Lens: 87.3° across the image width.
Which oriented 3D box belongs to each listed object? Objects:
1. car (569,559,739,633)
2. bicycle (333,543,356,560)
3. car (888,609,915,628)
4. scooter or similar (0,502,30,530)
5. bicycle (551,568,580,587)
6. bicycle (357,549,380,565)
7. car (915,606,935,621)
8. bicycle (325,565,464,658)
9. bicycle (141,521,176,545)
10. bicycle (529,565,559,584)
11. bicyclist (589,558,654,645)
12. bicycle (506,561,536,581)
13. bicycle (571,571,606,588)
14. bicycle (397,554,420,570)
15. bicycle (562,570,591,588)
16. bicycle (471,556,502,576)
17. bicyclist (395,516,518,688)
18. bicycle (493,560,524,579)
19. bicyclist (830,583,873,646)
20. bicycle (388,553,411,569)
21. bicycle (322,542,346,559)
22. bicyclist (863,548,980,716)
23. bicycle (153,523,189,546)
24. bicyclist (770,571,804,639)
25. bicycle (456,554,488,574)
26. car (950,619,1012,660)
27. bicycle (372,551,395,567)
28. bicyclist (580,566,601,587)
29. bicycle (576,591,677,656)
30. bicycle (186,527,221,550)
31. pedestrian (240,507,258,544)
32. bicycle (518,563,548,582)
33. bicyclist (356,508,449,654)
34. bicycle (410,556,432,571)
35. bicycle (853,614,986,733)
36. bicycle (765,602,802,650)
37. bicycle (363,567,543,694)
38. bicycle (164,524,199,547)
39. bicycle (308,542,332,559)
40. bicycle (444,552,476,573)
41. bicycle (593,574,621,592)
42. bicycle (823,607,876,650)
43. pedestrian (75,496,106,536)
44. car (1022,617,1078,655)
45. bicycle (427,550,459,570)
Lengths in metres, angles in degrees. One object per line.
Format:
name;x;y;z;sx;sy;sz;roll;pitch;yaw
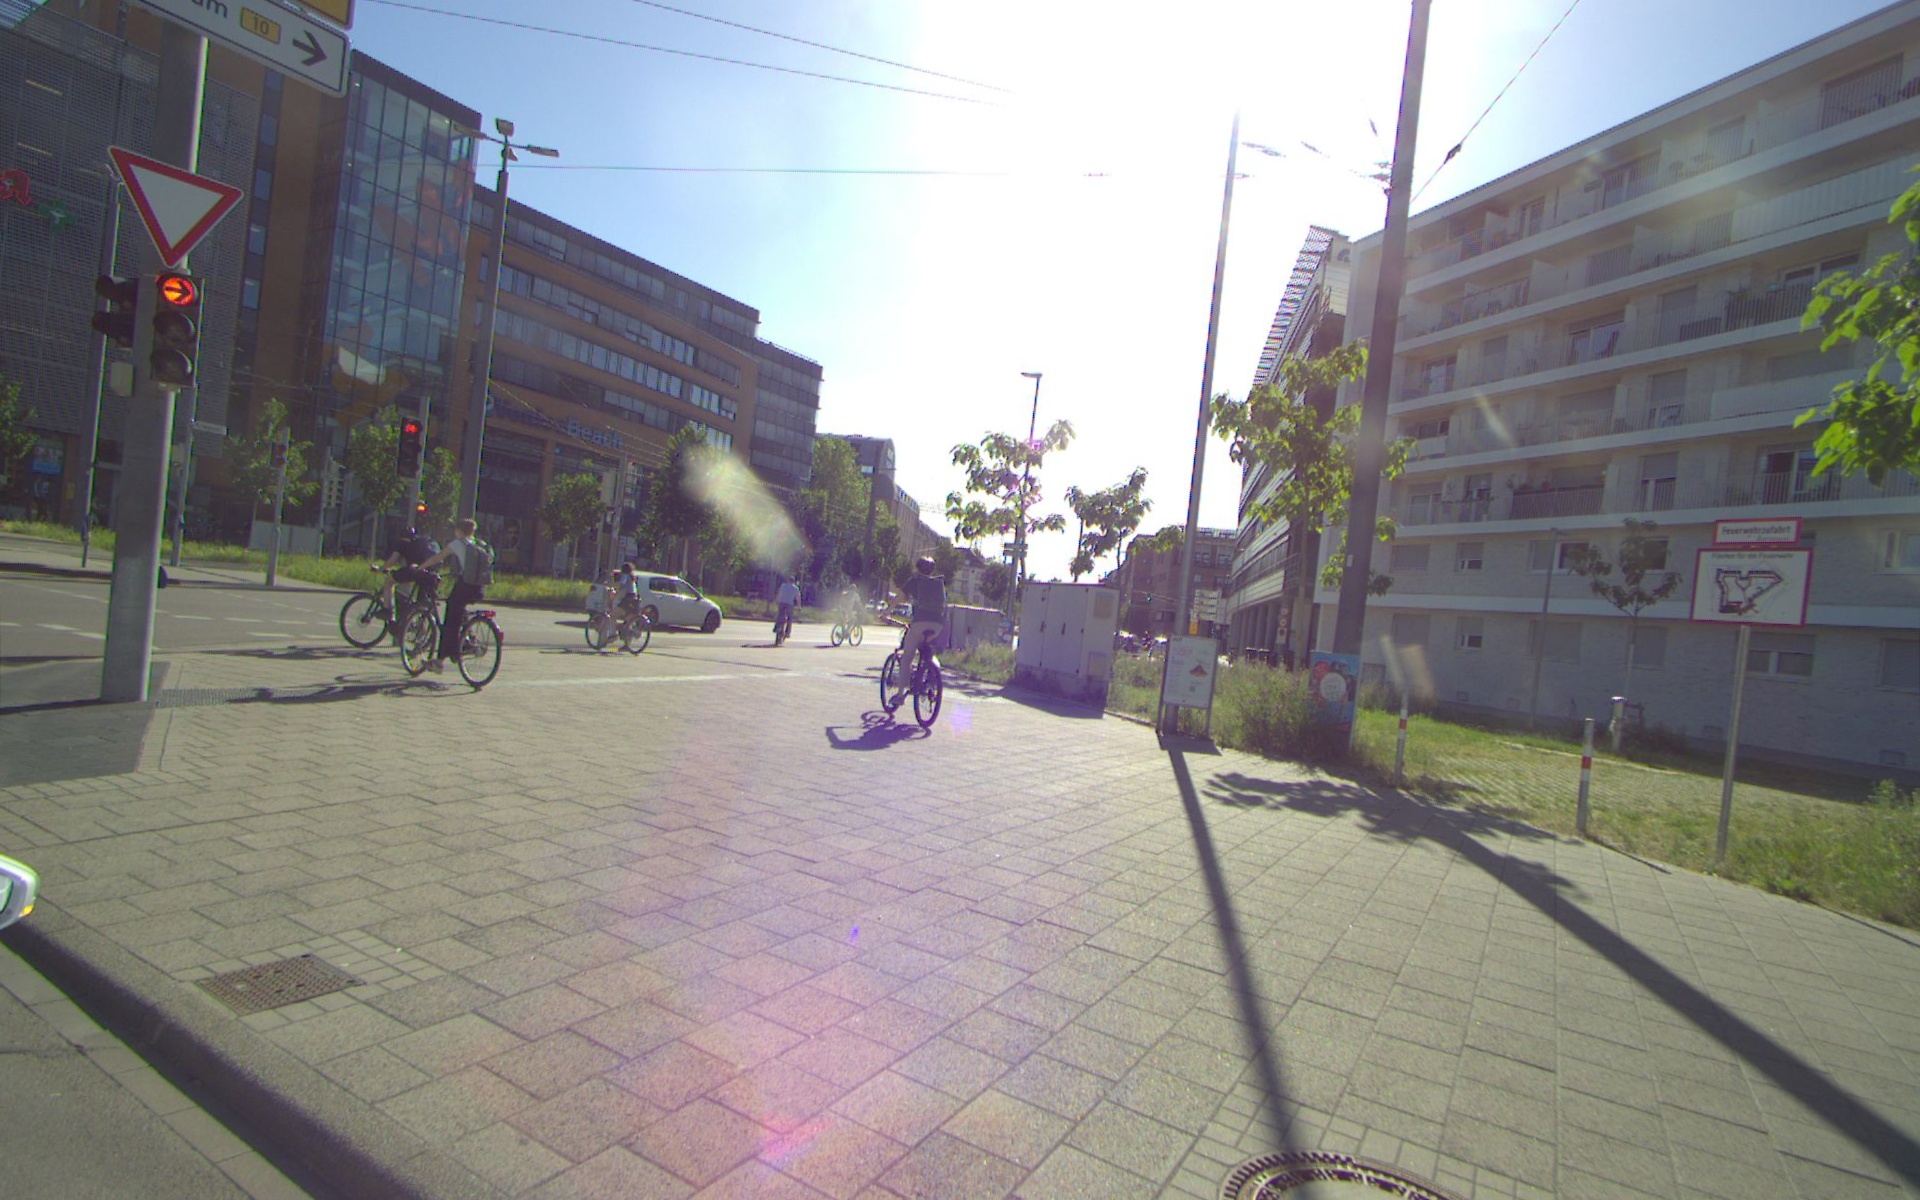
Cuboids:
car;-7.962;-0.050;26.617;1.746;1.420;4.291;9;0;25
bicycle;-36.951;-2.895;60.374;1.425;0.829;0.445;8;1;27
car;-7.237;2.313;124.980;2.185;2.038;5.259;7;-1;7
scooter or similar;-44.150;-3.916;46.787;0.272;1.115;1.203;6;-2;34
bicycle;-30.247;-1.733;77.093;2.142;1.137;0.752;8;1;27
bicycle;-36.083;-2.635;61.367;1.425;0.829;0.445;8;1;27
car;-4.926;1.902;141.526;1.962;1.701;4.541;7;-1;7
bicycle;-7.491;0.146;13.302;1.862;1.051;0.605;5;1;27
bicycle;-40.792;-3.425;51.197;2.142;0.966;0.492;8;1;27
bicycle;-31.246;-1.933;75.616;2.142;1.137;0.752;8;1;27
bicyclist;-5.877;0.028;17.486;0.814;1.421;0.588;5;1;32
bicycle;-32.245;-2.124;73.905;2.142;1.137;0.752;8;1;27
bicycle;-27.847;-1.538;75.436;0.588;1.023;2.563;7;-1;33
bicycle;-35.037;-2.412;63.893;1.425;0.829;0.445;8;1;27
bicycle;-29.659;-1.629;77.755;2.142;1.137;0.752;8;1;27
bicycle;-33.476;-2.388;71.093;2.142;1.137;0.752;8;1;27
bicyclist;-5.260;0.016;10.509;0.987;1.675;0.594;7;1;32
bicycle;-32.776;-2.228;73.050;2.142;1.137;0.752;8;1;27
bicyclist;-3.263;0.447;30.262;0.640;1.774;1.043;7;1;28
bicycle;-35.323;-2.459;63.393;1.425;0.829;0.445;8;1;27
bicycle;-37.237;-2.937;59.823;1.425;0.829;0.445;8;1;27
bicyclist;-0.452;0.331;11.257;0.798;1.714;1.046;8;1;-21
bicycle;-40.560;-3.374;51.697;2.142;0.966;0.492;8;1;27
bicyclist;-4.572;0.137;26.604;0.609;1.690;1.018;8;1;-7
bicycle;-34.275;-2.528;70.660;2.142;1.137;0.752;8;1;27
car;1.117;2.006;50.977;1.754;1.723;4.139;9;0;19
bicycle;-35.475;-2.536;61.945;1.425;0.829;0.445;8;1;27
bicyclist;-27.740;-1.782;75.528;0.584;1.425;1.309;7;0;33
bicycle;-5.802;0.405;17.482;1.679;0.966;0.695;5;0;32
bicycle;-39.958;-3.237;53.135;2.142;0.966;0.492;8;1;27
pedestrian;-39.110;-4.106;55.350;0.369;1.937;0.539;6;-1;39
bicycle;-31.744;-2.022;74.812;2.142;1.137;0.752;8;1;27
bicyclist;-7.328;-0.245;13.231;0.890;1.821;0.549;5;1;27
bicycle;-34.678;-2.349;64.749;1.425;0.829;0.445;8;1;27
bicycle;-0.507;0.792;11.386;0.817;1.049;1.882;8;0;-21
bicycle;-4.665;0.668;26.734;0.677;1.082;2.693;8;0;-7
bicycle;-5.340;0.297;10.551;1.978;1.119;0.695;5;0;32
bicycle;-40.465;-3.339;52.268;2.142;0.966;0.492;8;1;27
bicycle;-37.494;-2.919;58.916;1.425;0.829;0.445;8;1;27
bicycle;-34.805;-2.621;70.059;2.142;1.137;0.752;8;1;27
bicycle;-28.375;-1.338;80.815;2.142;1.137;0.752;8;1;27
bicycle;-3.304;0.873;30.282;0.640;1.122;1.758;5;-3;27
pedestrian;-40.175;-3.857;46.486;0.586;1.706;0.778;7;0;18
car;4.448;1.793;49.163;1.694;1.543;4.401;7;-1;17
bicycle;-35.454;-2.745;68.963;2.142;1.137;0.752;8;1;27
